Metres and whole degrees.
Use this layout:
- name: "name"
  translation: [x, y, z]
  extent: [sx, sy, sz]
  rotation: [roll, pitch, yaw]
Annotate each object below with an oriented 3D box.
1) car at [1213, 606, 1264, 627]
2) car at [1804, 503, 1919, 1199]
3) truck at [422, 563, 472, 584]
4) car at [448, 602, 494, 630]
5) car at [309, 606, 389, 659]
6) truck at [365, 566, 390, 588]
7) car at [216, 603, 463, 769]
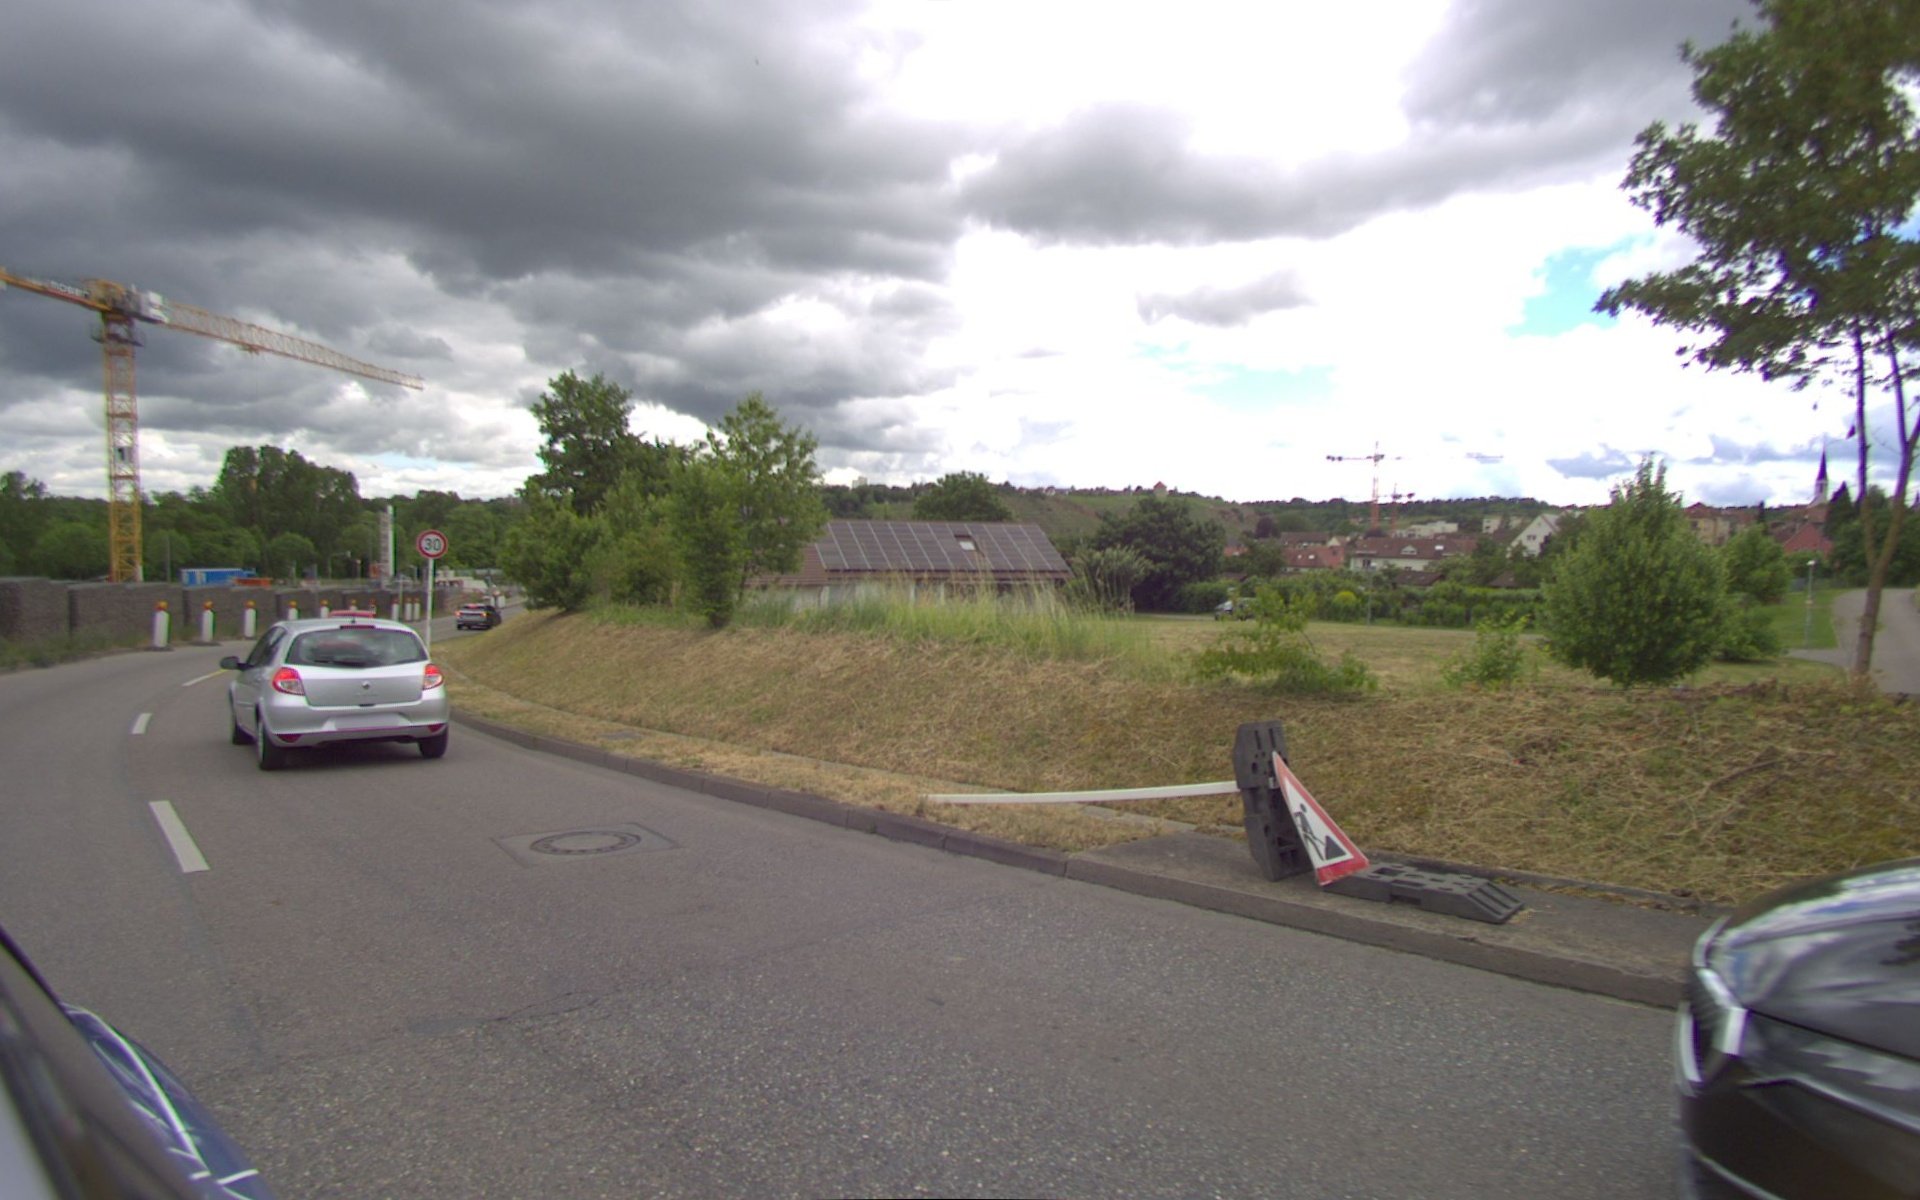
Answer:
- name: "car"
  translation: [19.580, 1.135, 71.048]
  extent: [3.755, 1.243, 1.423]
  rotation: [-2, 3, -37]
- name: "car"
  translation: [3.723, 0.638, 0.905]
  extent: [4.426, 1.506, 1.721]
  rotation: [0, -2, 36]
- name: "truck"
  translation: [-83.026, -4.318, 163.788]
  extent: [7.552, 3.282, 2.743]
  rotation: [1, 2, 20]
- name: "car"
  translation: [-28.118, 0.950, 58.322]
  extent: [1.855, 1.489, 4.616]
  rotation: [3, -2, -20]
- name: "car"
  translation: [-18.652, 0.955, 31.016]
  extent: [1.717, 1.427, 3.766]
  rotation: [4, -1, -26]
- name: "truck"
  translation: [-104.544, -4.184, 181.499]
  extent: [2.991, 3.926, 10.030]
  rotation: [-2, 3, -34]
- name: "car"
  translation: [-7.021, 0.801, 11.270]
  extent: [1.752, 1.506, 3.920]
  rotation: [2, -1, -40]
